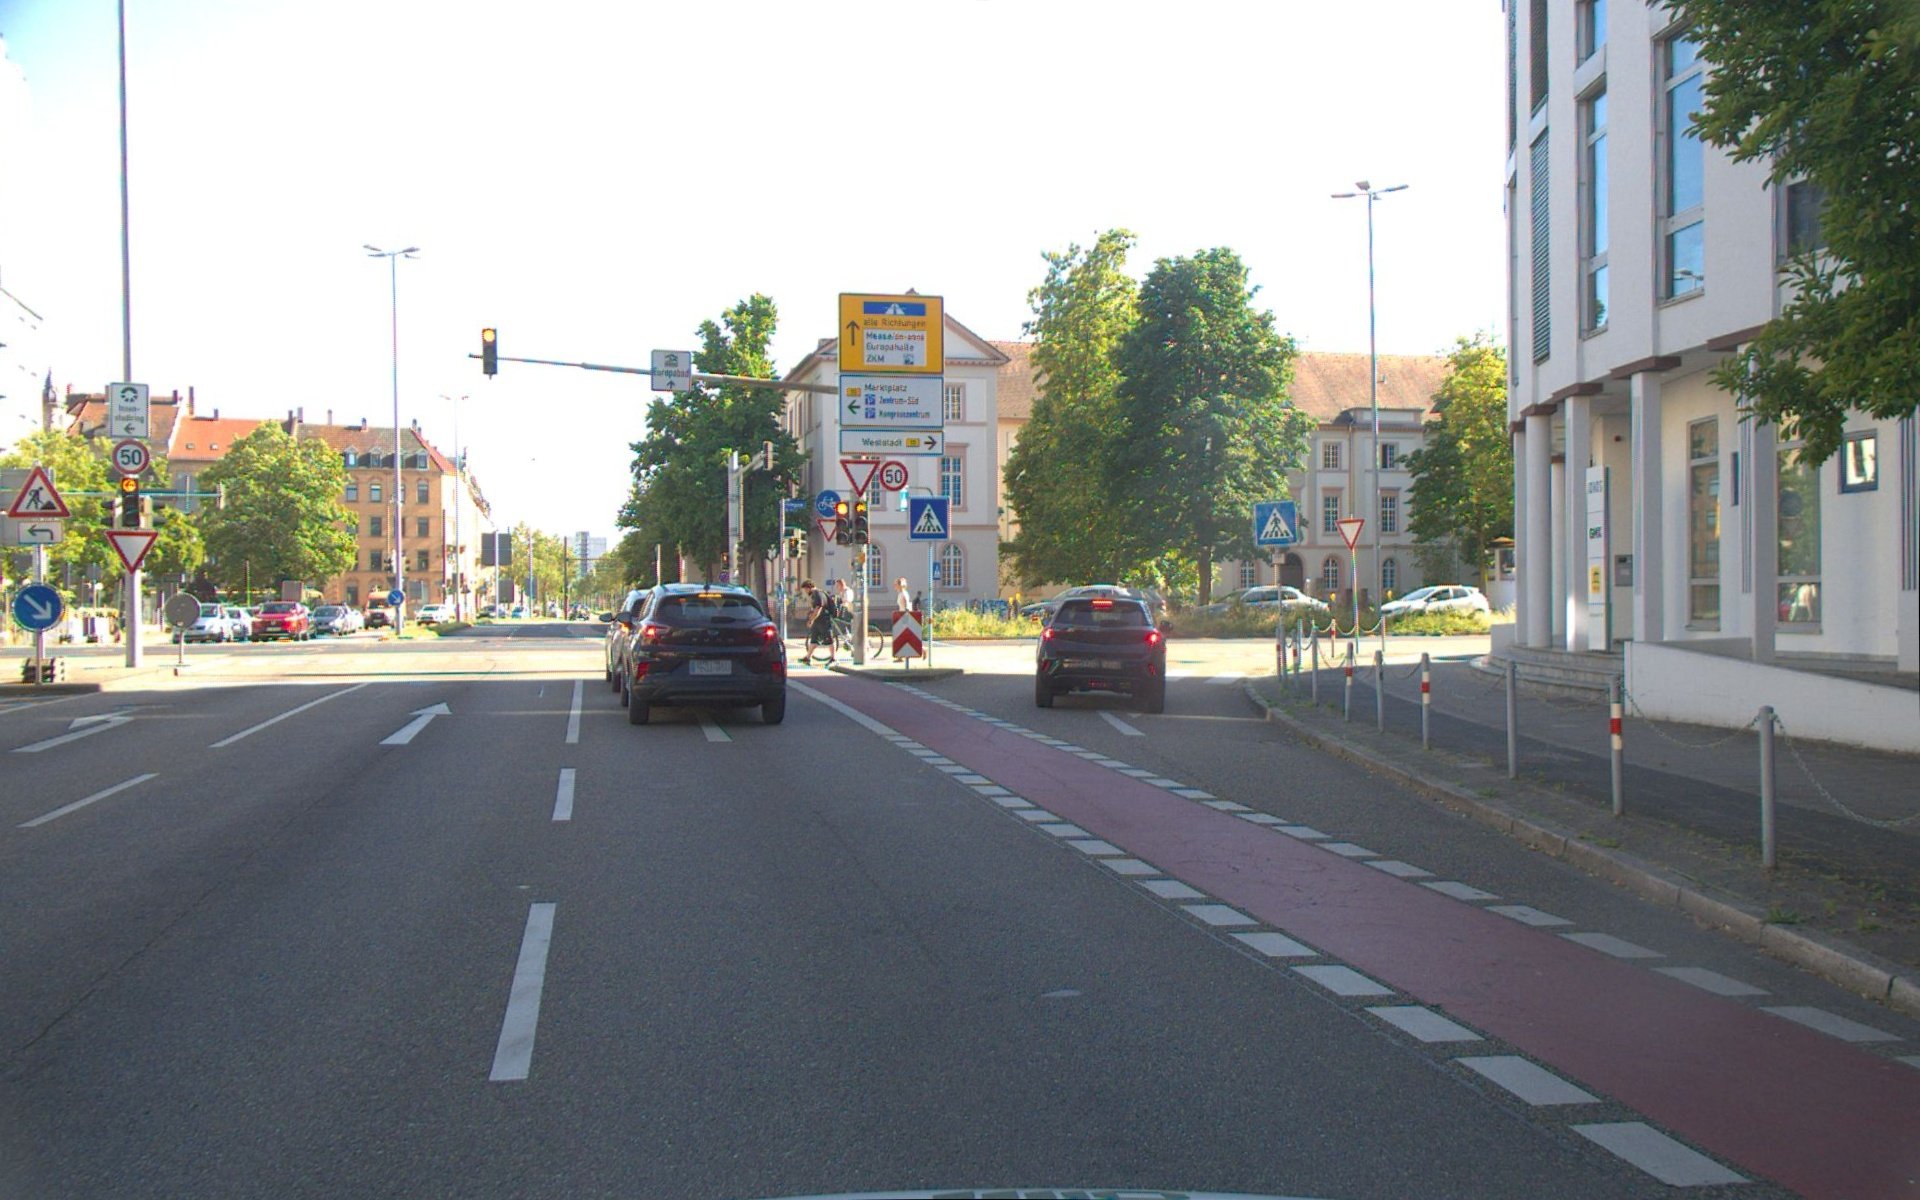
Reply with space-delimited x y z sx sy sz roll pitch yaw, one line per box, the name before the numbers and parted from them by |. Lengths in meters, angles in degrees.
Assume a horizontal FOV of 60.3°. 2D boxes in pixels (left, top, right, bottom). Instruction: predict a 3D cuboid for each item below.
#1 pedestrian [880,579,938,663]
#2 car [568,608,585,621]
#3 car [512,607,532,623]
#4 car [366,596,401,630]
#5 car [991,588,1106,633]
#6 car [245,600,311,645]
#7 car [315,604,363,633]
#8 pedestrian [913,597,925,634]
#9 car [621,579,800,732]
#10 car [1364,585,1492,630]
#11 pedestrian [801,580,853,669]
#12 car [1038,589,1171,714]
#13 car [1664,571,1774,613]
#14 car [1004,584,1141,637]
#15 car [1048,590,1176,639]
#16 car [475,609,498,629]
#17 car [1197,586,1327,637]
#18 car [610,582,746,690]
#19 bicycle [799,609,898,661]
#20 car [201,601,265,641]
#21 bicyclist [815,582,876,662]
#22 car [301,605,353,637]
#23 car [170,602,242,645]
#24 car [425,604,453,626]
pedestrian | -1.040 0.418 33.640 1.023 1.689 0.781 -1 0 -13
car | -42.697 1.606 184.188 1.779 1.473 3.986 -1 0 -13
car | -44.383 1.517 167.619 1.779 1.473 3.986 -1 0 -13
car | -38.421 0.845 110.231 1.779 2.172 3.986 0 0 -13
car | 3.408 0.381 63.581 4.054 1.630 1.811 -1 0 -20
car | -26.717 0.855 64.916 1.760 1.645 3.987 -1 0 -13
car | -32.583 0.952 86.865 1.842 1.473 3.986 -1 0 -13
pedestrian | -1.863 0.714 75.148 0.432 1.643 0.466 2 -1 -7
car | -3.048 0.578 19.618 1.798 1.606 3.826 -1 0 -13
car | 16.586 0.255 58.592 4.113 1.534 1.811 -1 0 -20
pedestrian | -2.617 0.474 32.449 0.813 1.731 0.913 0 0 -19
car | 2.091 0.684 23.390 1.708 1.601 3.560 1 0 6
car | 31.154 -0.326 67.908 3.927 1.672 1.912 -1 0 -20
car | 3.637 0.312 53.465 4.054 1.630 1.811 -1 0 -20
car | 5.293 0.495 57.658 4.054 1.630 1.811 -1 0 -20
car | -42.717 1.710 149.182 1.779 1.662 3.986 -1 0 -13
car | 10.233 0.376 56.069 3.925 1.672 1.913 -1 0 -18
car | -4.334 0.493 25.018 1.798 1.478 3.974 -1 0 -13
bicycle | -2.355 0.736 34.887 1.998 1.079 0.619 0 0 -17
car | -31.797 0.893 72.439 1.842 1.645 3.986 -1 0 -13
bicyclist | -2.415 0.465 34.882 1.146 1.662 0.726 0 0 -16
car | -30.886 0.986 80.800 1.842 1.473 3.986 -1 0 -13
car | -30.051 0.903 66.005 1.842 1.645 3.986 -1 0 -13
car | -40.936 1.149 129.969 1.779 1.662 3.986 -1 0 -13
